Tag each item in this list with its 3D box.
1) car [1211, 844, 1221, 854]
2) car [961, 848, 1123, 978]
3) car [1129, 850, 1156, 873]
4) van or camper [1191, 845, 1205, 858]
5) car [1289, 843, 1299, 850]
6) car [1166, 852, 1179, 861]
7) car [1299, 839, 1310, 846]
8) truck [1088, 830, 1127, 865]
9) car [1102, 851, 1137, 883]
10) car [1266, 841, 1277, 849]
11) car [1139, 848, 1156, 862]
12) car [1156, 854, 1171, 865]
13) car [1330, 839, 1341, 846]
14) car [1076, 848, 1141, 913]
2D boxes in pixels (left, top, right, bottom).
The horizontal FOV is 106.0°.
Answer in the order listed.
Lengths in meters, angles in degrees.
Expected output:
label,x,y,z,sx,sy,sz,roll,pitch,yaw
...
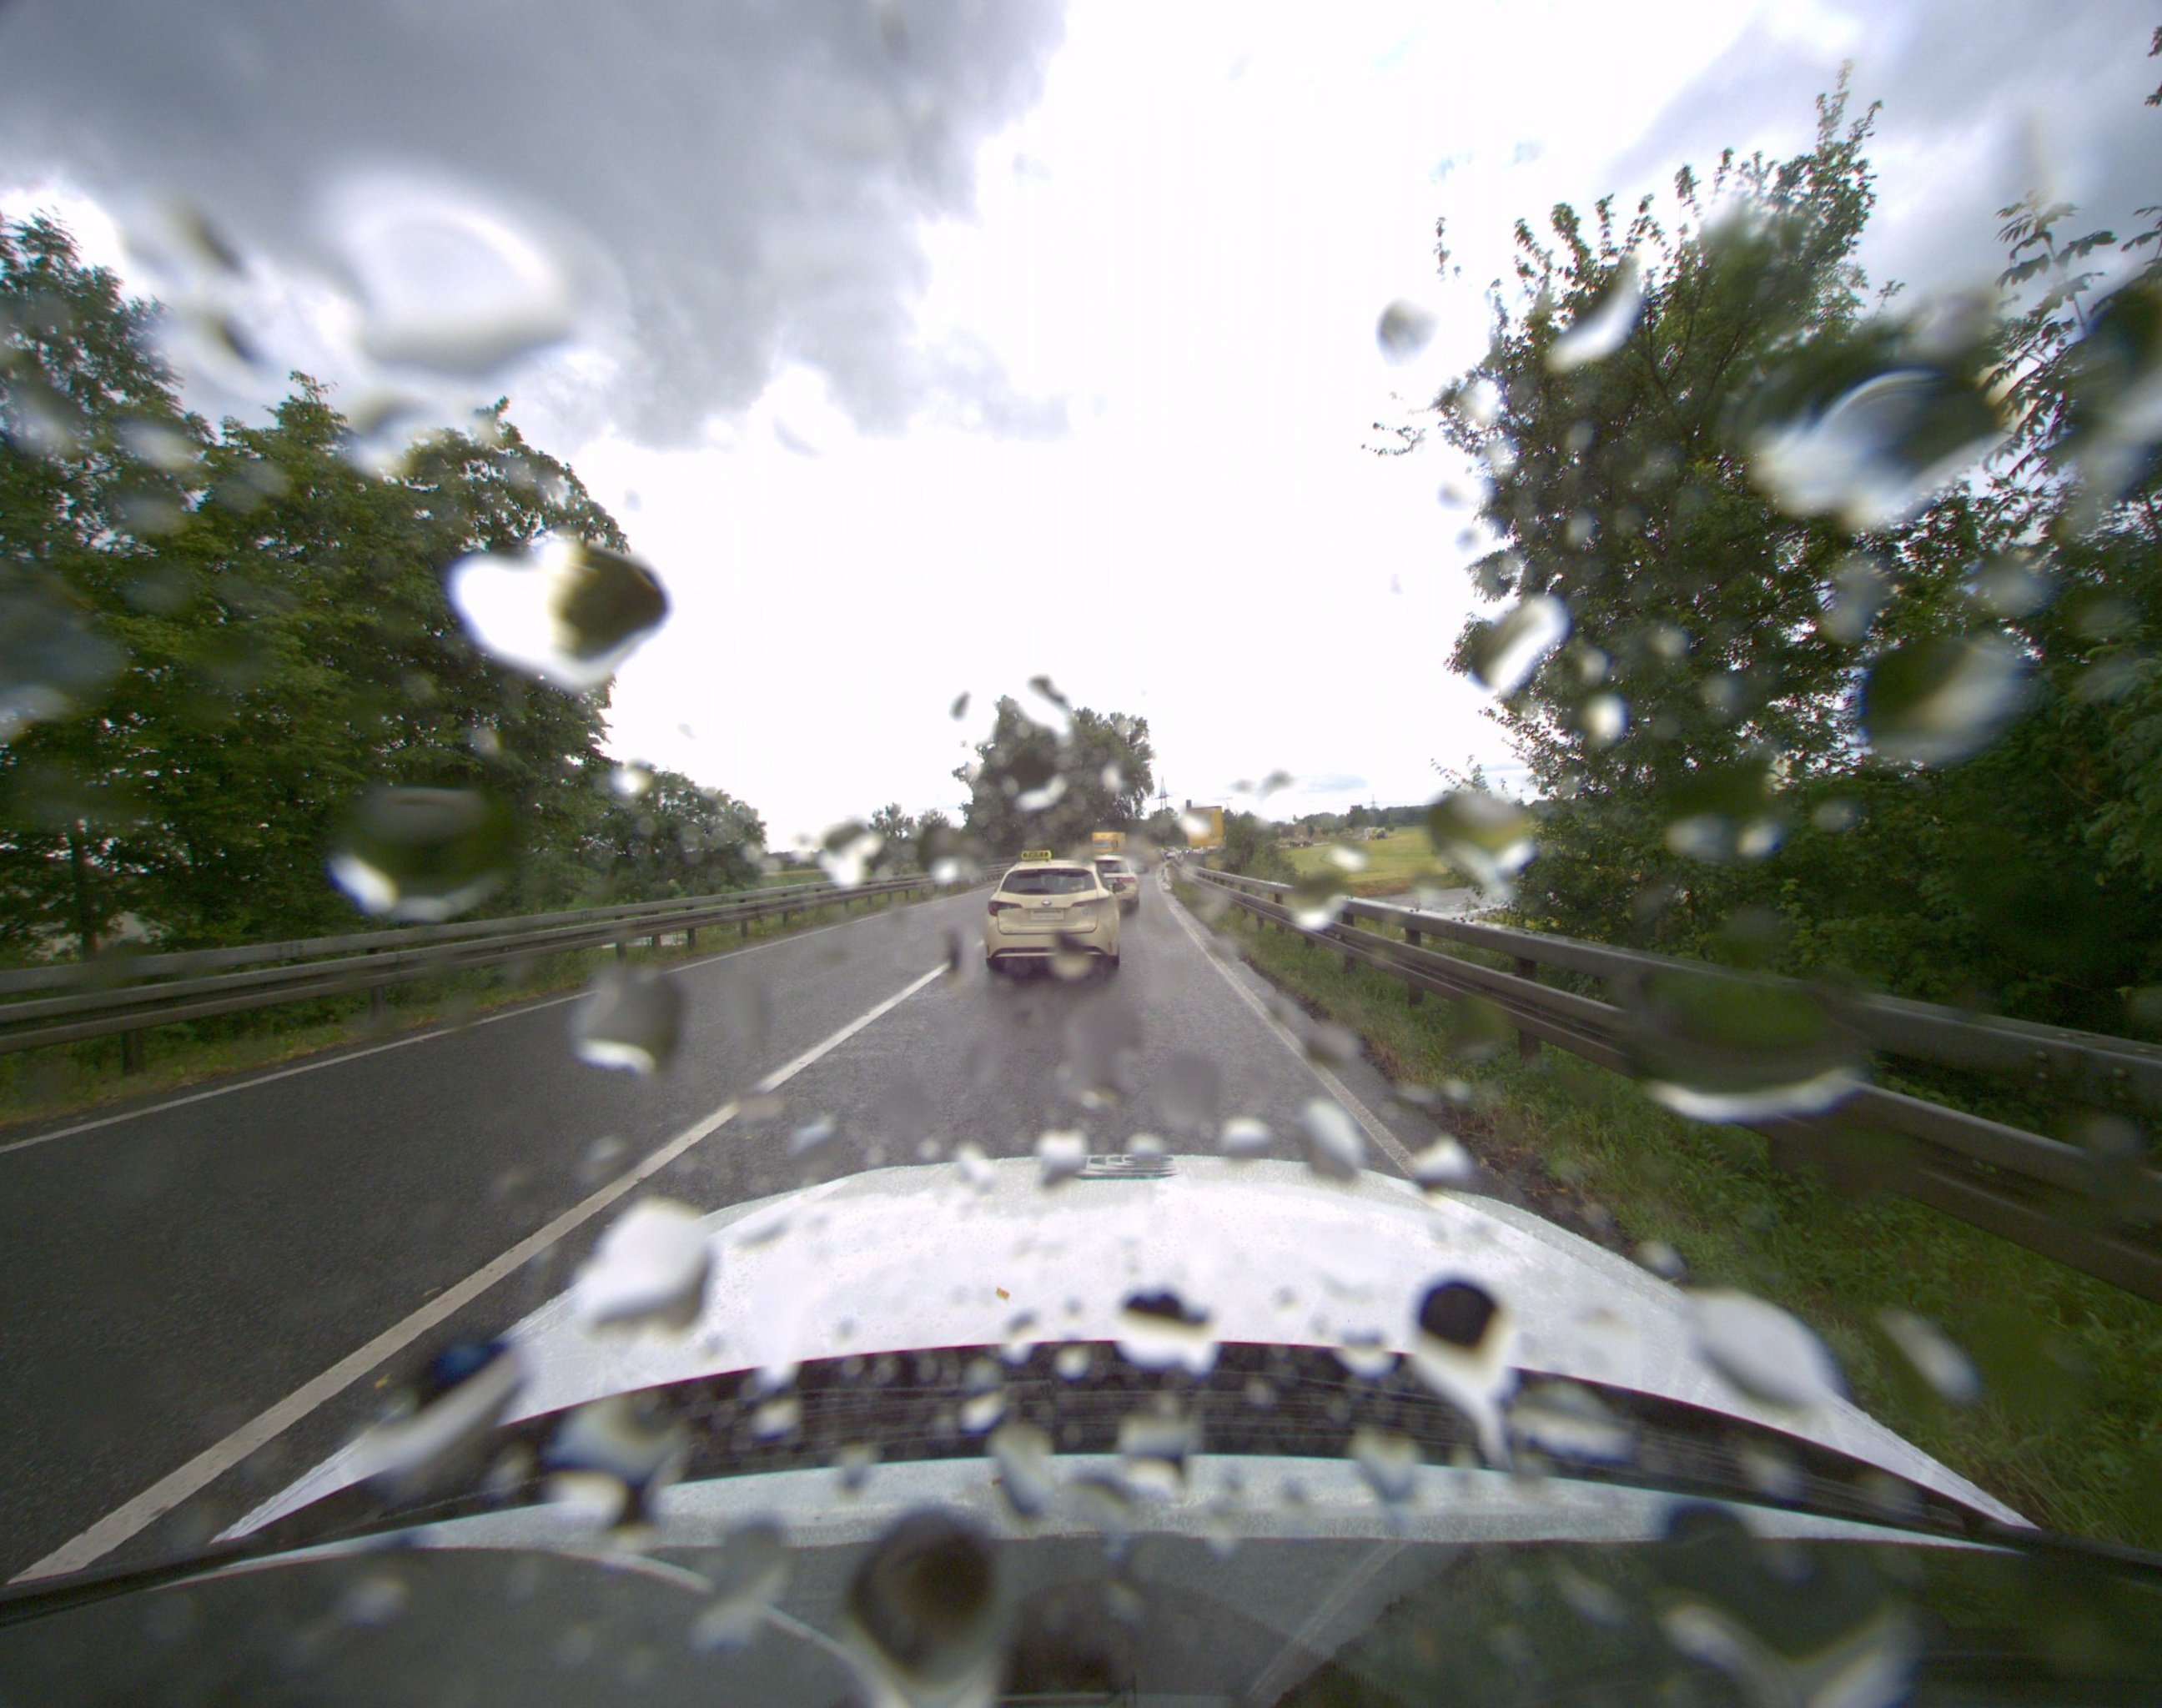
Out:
label,x,y,z,sx,sy,sz,roll,pitch,yaw
car,26.629,-0.998,160.131,1.720,1.819,4.013,-1,-1,12
car,-0.369,0.712,11.894,1.898,1.537,4.165,-1,0,3
car,4.157,0.478,55.414,1.659,1.464,3.477,-1,0,1
van or camper,20.274,-0.465,140.840,1.980,2.254,4.014,-1,-1,13
car,58.812,-1.949,224.732,1.801,1.838,4.013,-1,-1,29
car,12.967,0.333,115.315,1.473,1.309,3.487,-1,0,10
car,64.004,-3.333,233.524,1.974,2.014,4.025,-1,-1,33
truck,2.854,-0.640,84.954,2.754,3.429,9.211,1,0,10
car,1.870,0.590,39.089,1.498,1.437,3.360,-1,0,5
car,49.002,-2.298,209.429,1.903,1.838,4.021,-1,-1,22
car,6.798,0.105,83.263,1.652,1.409,3.910,-1,-1,6
car,9.928,0.678,97.793,1.473,1.309,3.487,-1,0,10
car,78.299,-3.545,250.533,2.120,2.014,4.025,-1,-1,37
car,0.802,0.657,22.061,1.571,1.572,3.685,-1,0,4
